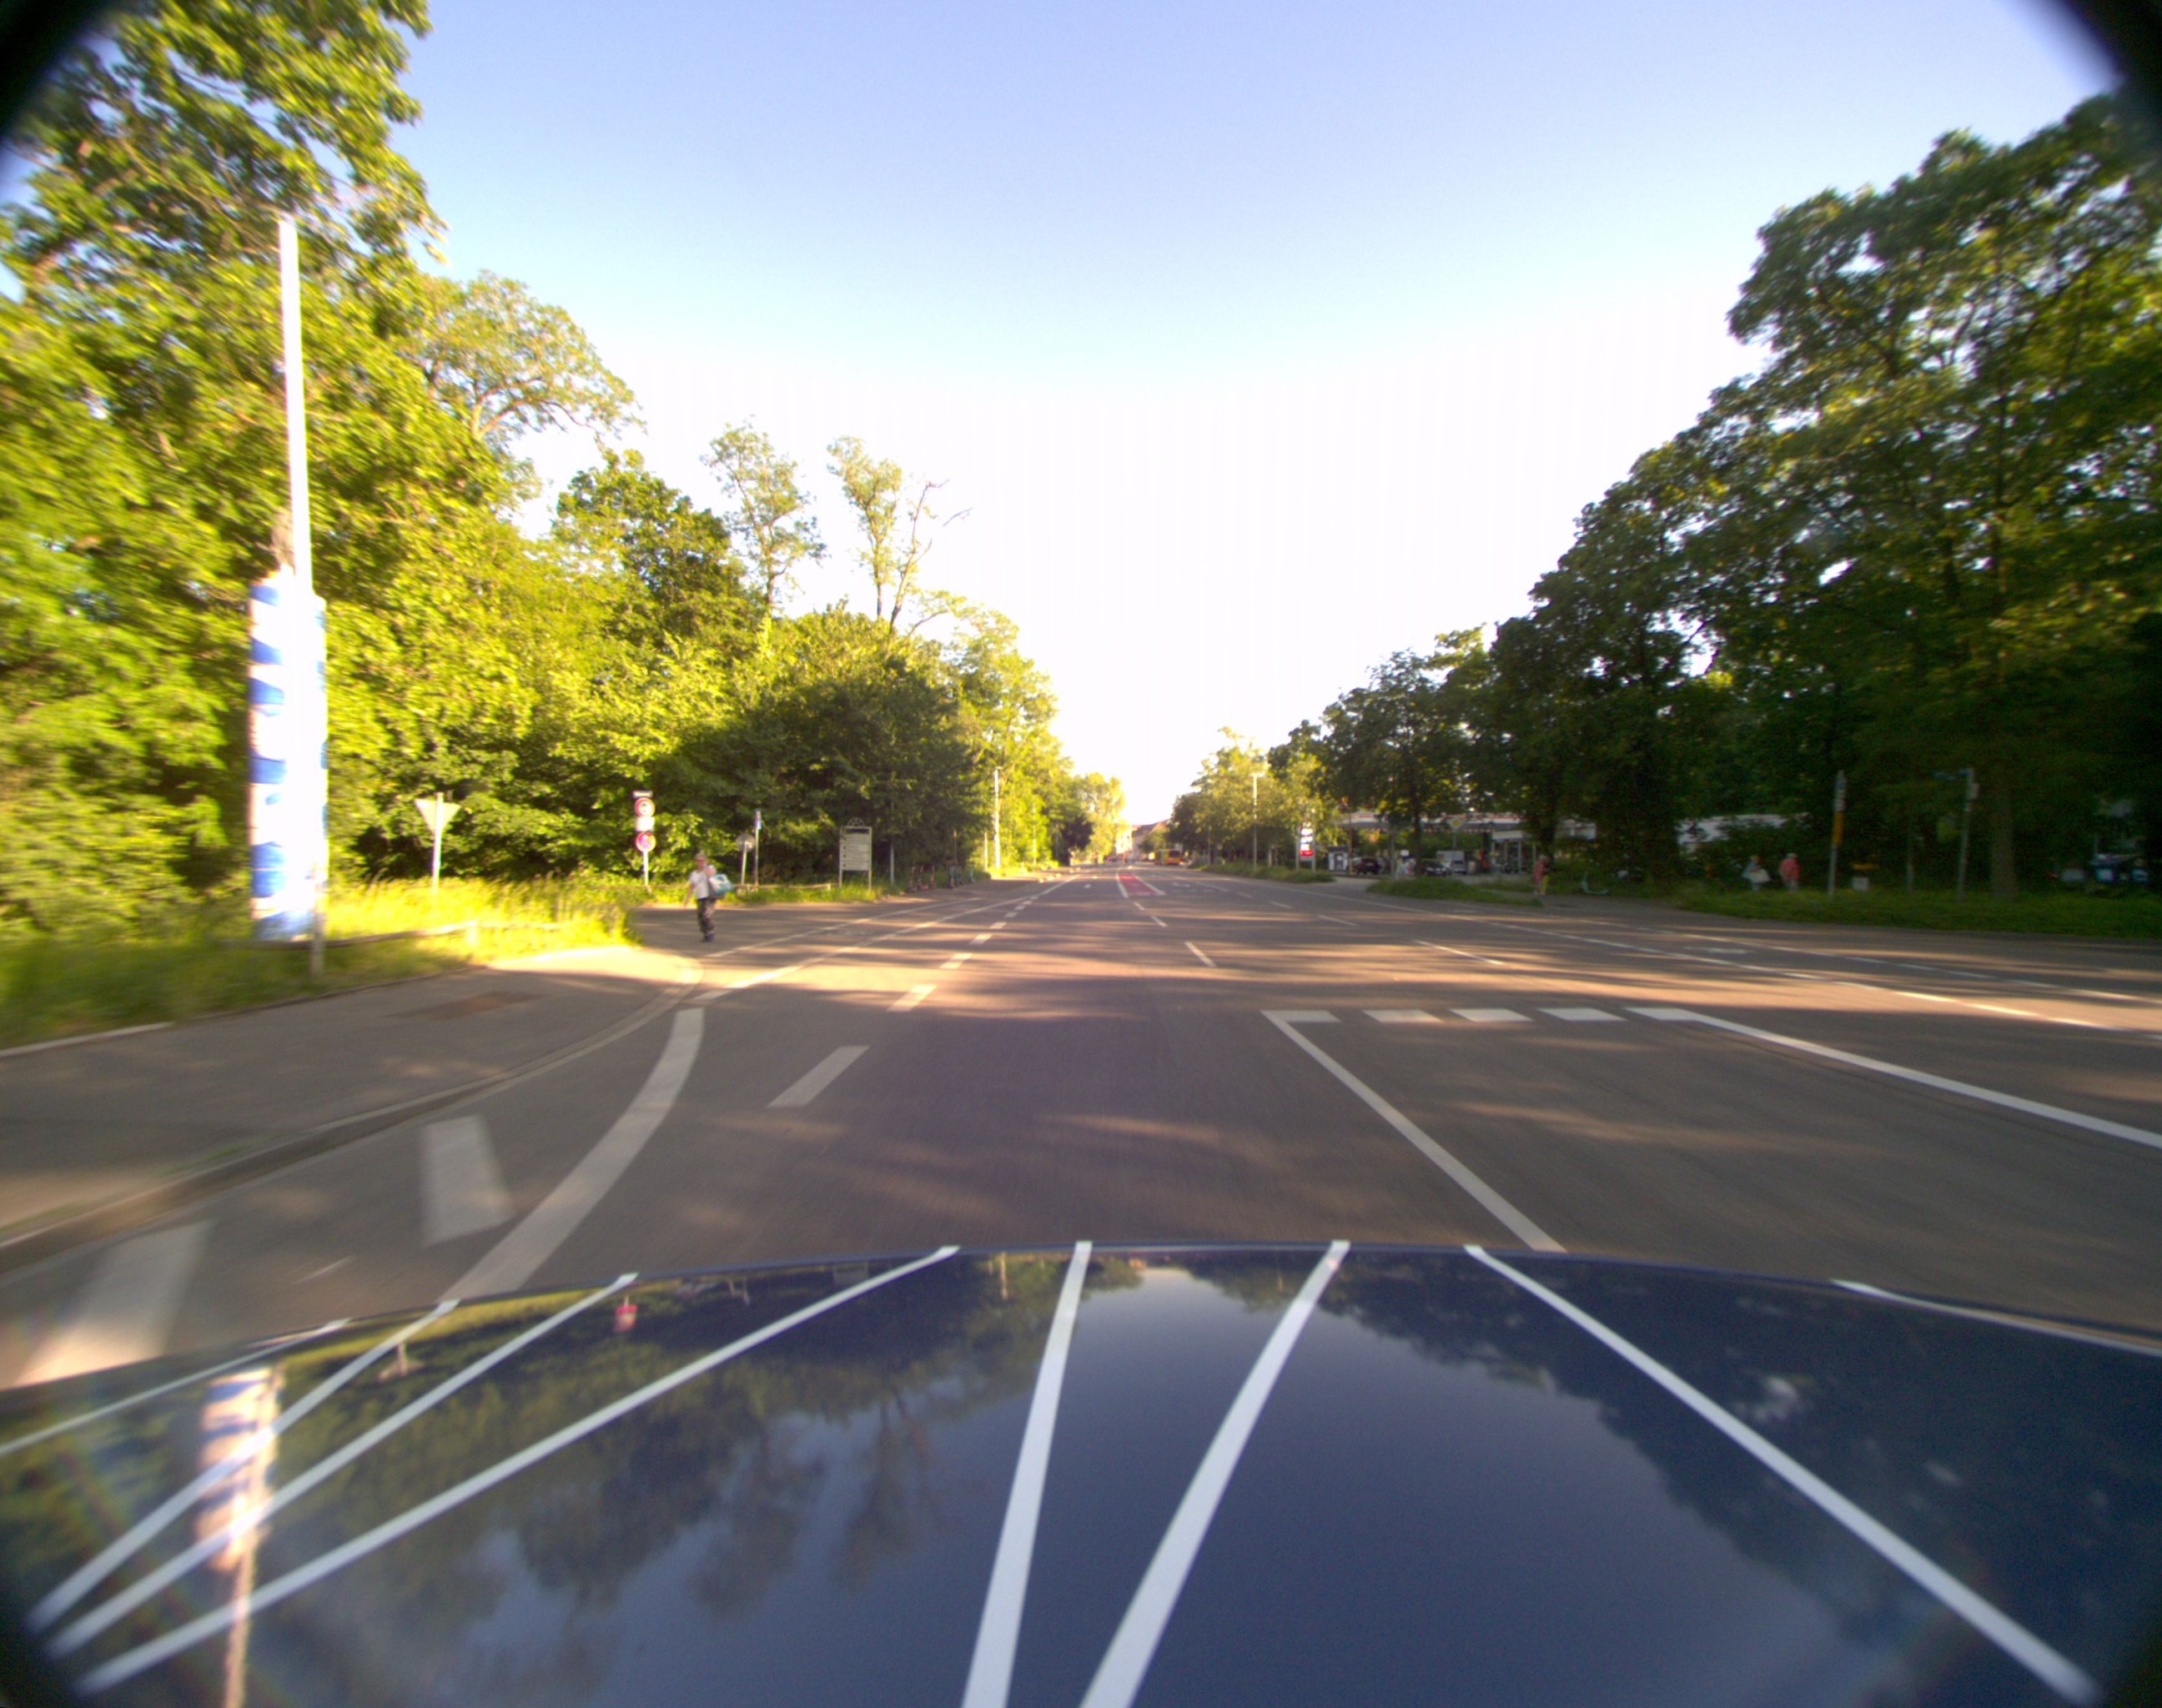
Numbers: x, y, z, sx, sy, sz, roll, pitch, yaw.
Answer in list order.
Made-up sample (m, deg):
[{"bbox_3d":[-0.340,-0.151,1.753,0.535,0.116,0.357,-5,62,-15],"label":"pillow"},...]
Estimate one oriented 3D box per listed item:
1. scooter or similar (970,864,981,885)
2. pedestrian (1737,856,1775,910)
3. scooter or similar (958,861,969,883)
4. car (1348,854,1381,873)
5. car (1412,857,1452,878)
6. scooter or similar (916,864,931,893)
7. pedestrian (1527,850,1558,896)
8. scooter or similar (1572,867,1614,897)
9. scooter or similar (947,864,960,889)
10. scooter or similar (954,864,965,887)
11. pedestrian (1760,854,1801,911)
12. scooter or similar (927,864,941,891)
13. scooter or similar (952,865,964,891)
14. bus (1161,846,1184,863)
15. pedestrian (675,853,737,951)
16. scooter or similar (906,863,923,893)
[{"bbox_3d":[-5.943,1.150,42.837,0.386,1.177,1.103,0,0,1],"label":"scooter or similar"},{"bbox_3d":[23.025,0.960,25.918,0.832,1.809,0.738,1,1,31],"label":"pedestrian"},{"bbox_3d":[-6.305,0.958,40.887,0.386,1.177,1.103,0,0,1],"label":"scooter or similar"},{"bbox_3d":[25.491,0.823,68.333,1.758,1.631,3.613,0,0,3],"label":"car"},{"bbox_3d":[29.284,1.083,63.452,1.758,1.631,3.838,0,0,3],"label":"car"},{"bbox_3d":[-6.750,1.047,32.584,0.386,1.177,1.103,0,0,1],"label":"scooter or similar"},{"bbox_3d":[18.697,0.750,30.811,0.738,1.809,0.832,0,1,-35],"label":"pedestrian"},{"bbox_3d":[20.235,1.095,30.051,0.465,1.125,1.342,0,0,-24],"label":"scooter or similar"},{"bbox_3d":[-6.254,1.110,37.313,0.386,1.177,1.103,0,0,1],"label":"scooter or similar"},{"bbox_3d":[-6.274,1.099,39.247,0.386,1.177,1.103,0,0,1],"label":"scooter or similar"},{"bbox_3d":[22.870,0.913,24.857,0.832,1.809,0.738,1,1,31],"label":"pedestrian"},{"bbox_3d":[-6.531,1.031,33.779,0.386,1.177,1.103,0,0,1],"label":"scooter or similar"},{"bbox_3d":[-5.789,1.112,35.742,0.386,1.177,1.103,0,0,1],"label":"scooter or similar"},{"bbox_3d":[18.823,0.160,157.261,3.038,3.388,9.478,0,0,-3],"label":"bus"},{"bbox_3d":[-7.045,0.878,14.306,0.809,1.789,0.734,0,1,1],"label":"pedestrian"},{"bbox_3d":[-6.751,0.981,30.874,0.386,1.177,1.188,0,0,1],"label":"scooter or similar"}]
